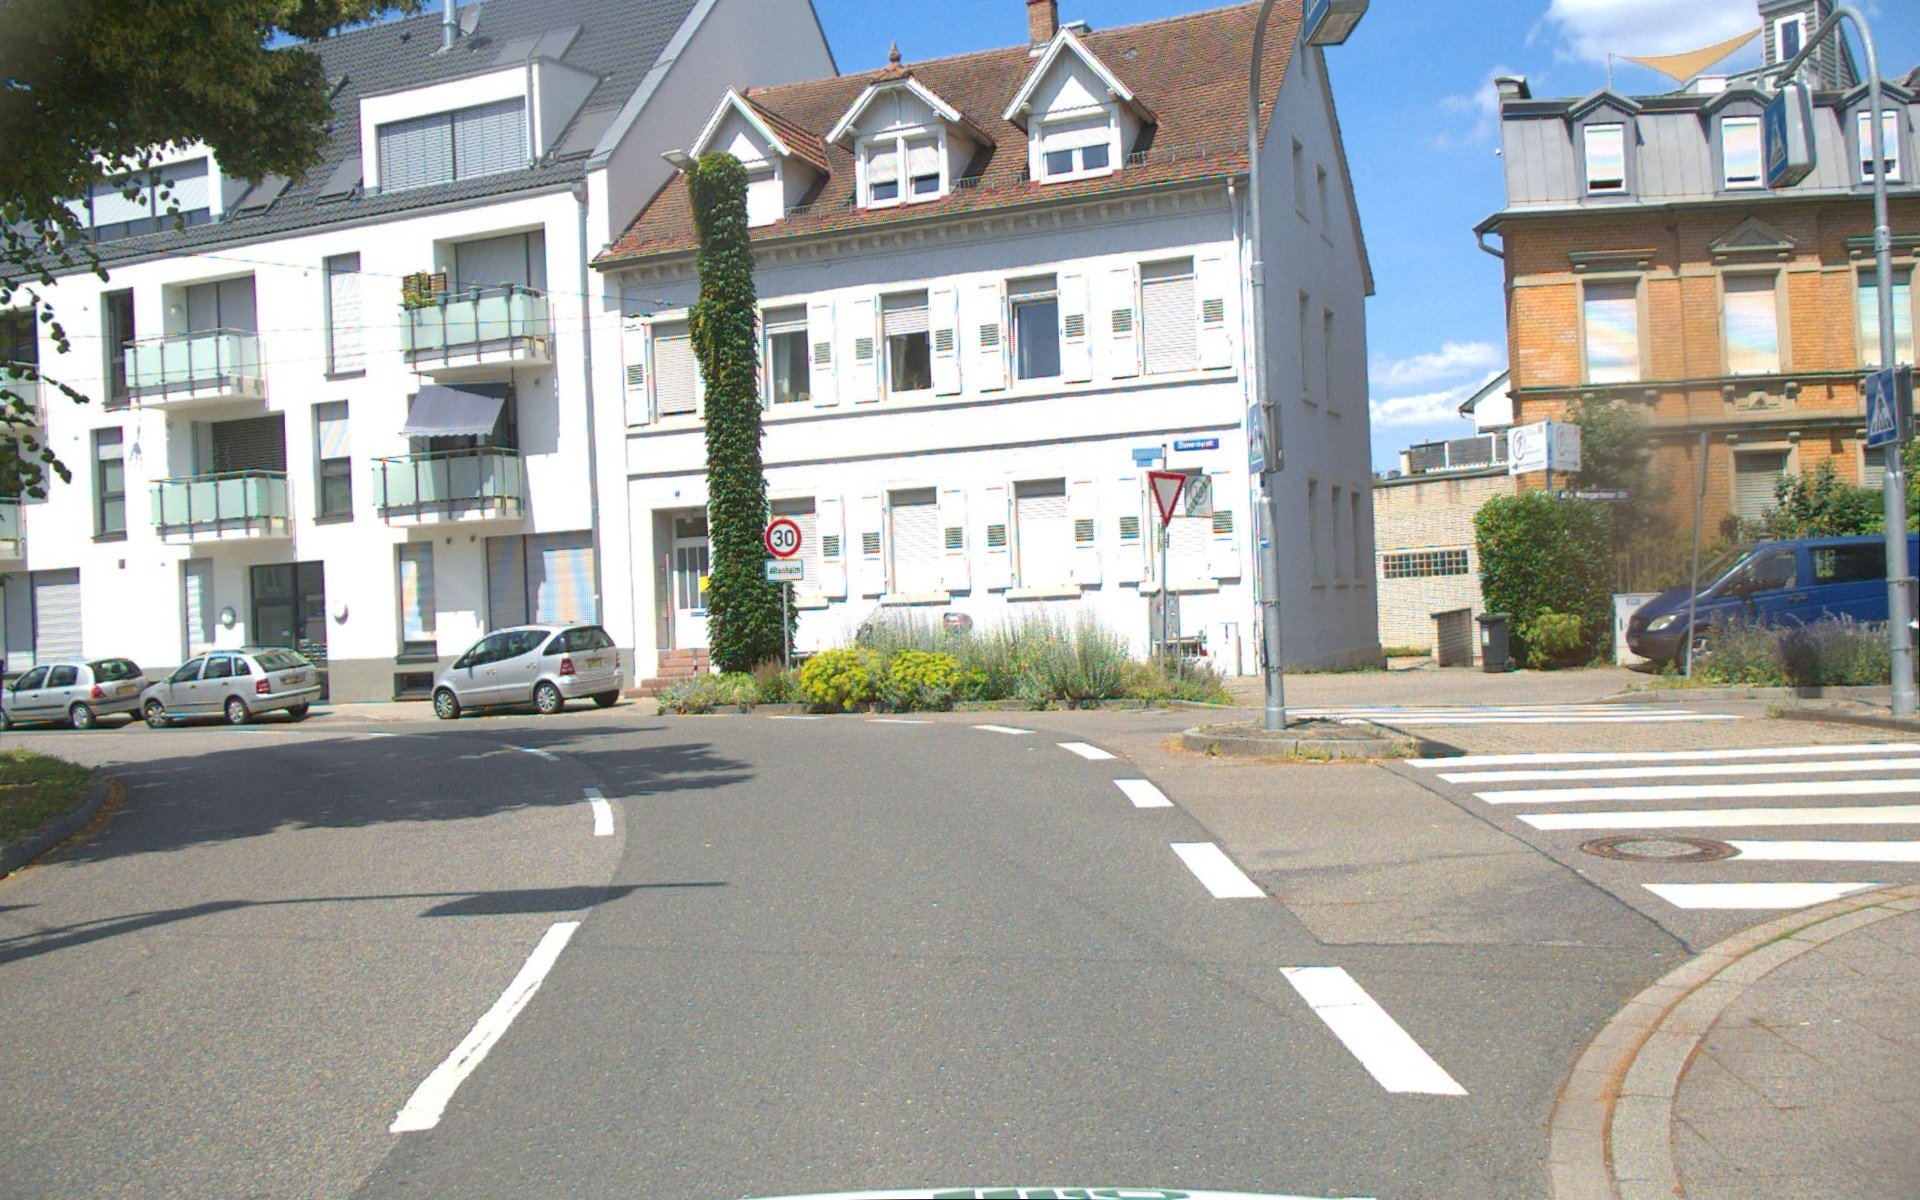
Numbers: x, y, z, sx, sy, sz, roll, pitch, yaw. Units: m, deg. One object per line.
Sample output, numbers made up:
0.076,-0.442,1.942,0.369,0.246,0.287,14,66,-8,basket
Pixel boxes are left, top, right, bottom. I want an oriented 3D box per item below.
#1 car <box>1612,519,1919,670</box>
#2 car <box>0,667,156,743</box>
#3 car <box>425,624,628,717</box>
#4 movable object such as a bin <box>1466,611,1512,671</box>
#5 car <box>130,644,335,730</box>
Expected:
12.854,-0.119,25.041,5.114,1.981,2.085,-3,0,8,car
-19.051,2.230,35.225,3.420,1.381,1.423,-3,3,21,car
-7.960,1.307,30.332,3.538,1.614,1.581,-2,-3,30,car
8.469,0.659,26.501,0.413,0.932,0.555,0,-3,-25,movable object such as a bin
-14.708,1.767,33.441,3.820,1.491,1.660,-2,3,27,car
